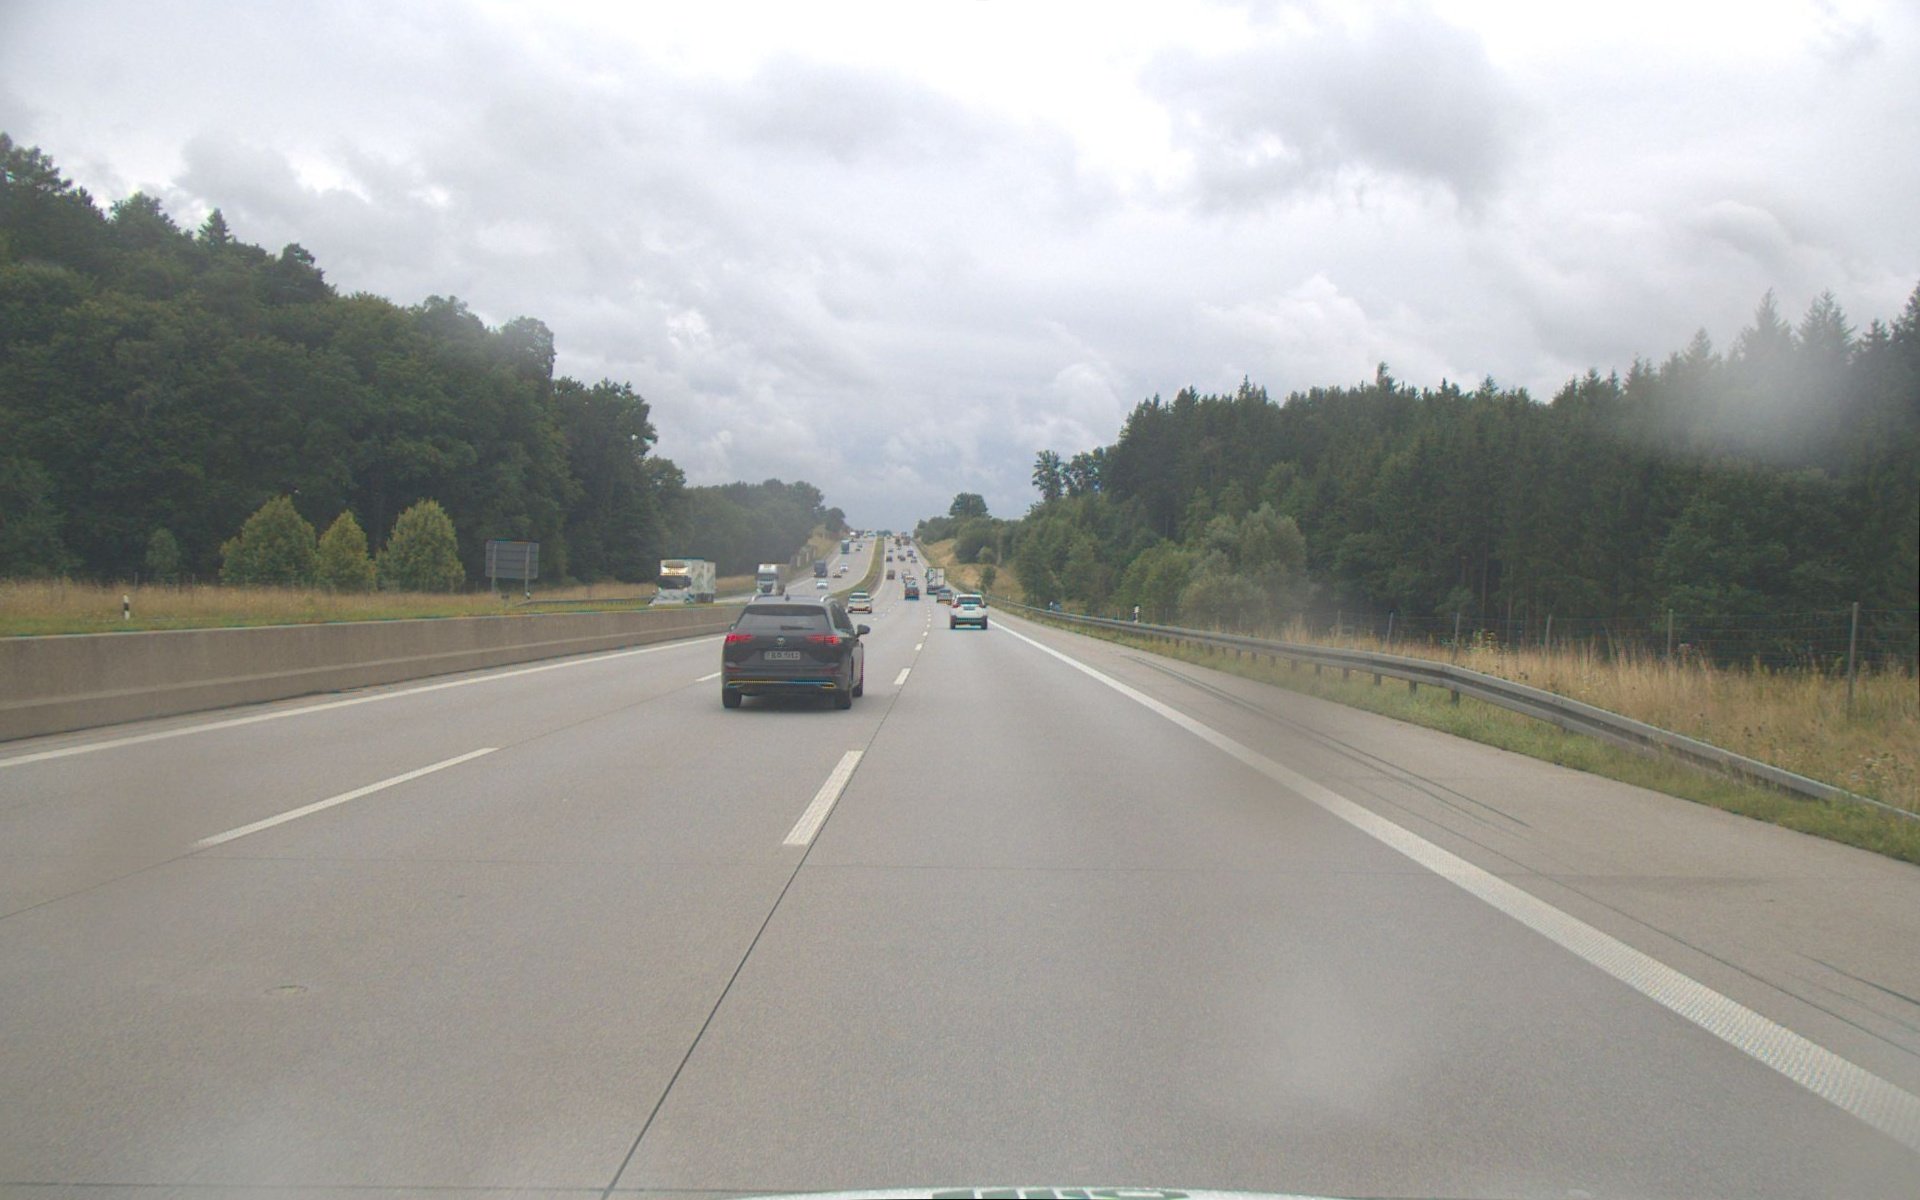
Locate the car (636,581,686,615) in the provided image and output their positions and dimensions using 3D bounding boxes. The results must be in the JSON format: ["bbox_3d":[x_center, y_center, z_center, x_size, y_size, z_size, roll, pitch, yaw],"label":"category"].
[{"bbox_3d":[-14.944,-0.109,82.888,1.847,1.615,3.999,1,0,-2],"label":"car"}]

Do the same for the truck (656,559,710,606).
[{"bbox_3d":[-23.419,-1.435,140.207,2.756,3.838,11.349,1,0,-1],"label":"truck"}]

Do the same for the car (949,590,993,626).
[{"bbox_3d":[0.508,0.377,80.011,1.789,1.684,3.982,1,0,-4],"label":"car"}]

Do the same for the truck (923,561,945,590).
[{"bbox_3d":[-3.944,-3.724,250.284,2.957,4.252,8.351,1,2,-3],"label":"truck"}]

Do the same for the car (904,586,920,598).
[{"bbox_3d":[-6.017,-1.074,208.284,1.896,1.399,4.593,1,1,-2],"label":"car"}]

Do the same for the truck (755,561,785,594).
[{"bbox_3d":[-24.611,-2.939,214.789,3.148,4.128,7.163,1,1,-2],"label":"truck"}]

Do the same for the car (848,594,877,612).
[{"bbox_3d":[-7.541,0.218,128.509,1.907,1.379,4.260,1,0,1],"label":"car"}]

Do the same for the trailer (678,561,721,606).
[{"bbox_3d":[-23.541,-1.495,149.808,2.761,3.849,7.715,1,1,-1],"label":"trailer"}]

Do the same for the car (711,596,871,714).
[{"bbox_3d":[-2.219,0.684,22.771,1.716,1.422,4.484,1,0,0],"label":"car"}]

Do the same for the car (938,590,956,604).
[{"bbox_3d":[-1.501,-0.366,191.977,1.953,1.556,3.999,3,0,-1],"label":"car"}]
